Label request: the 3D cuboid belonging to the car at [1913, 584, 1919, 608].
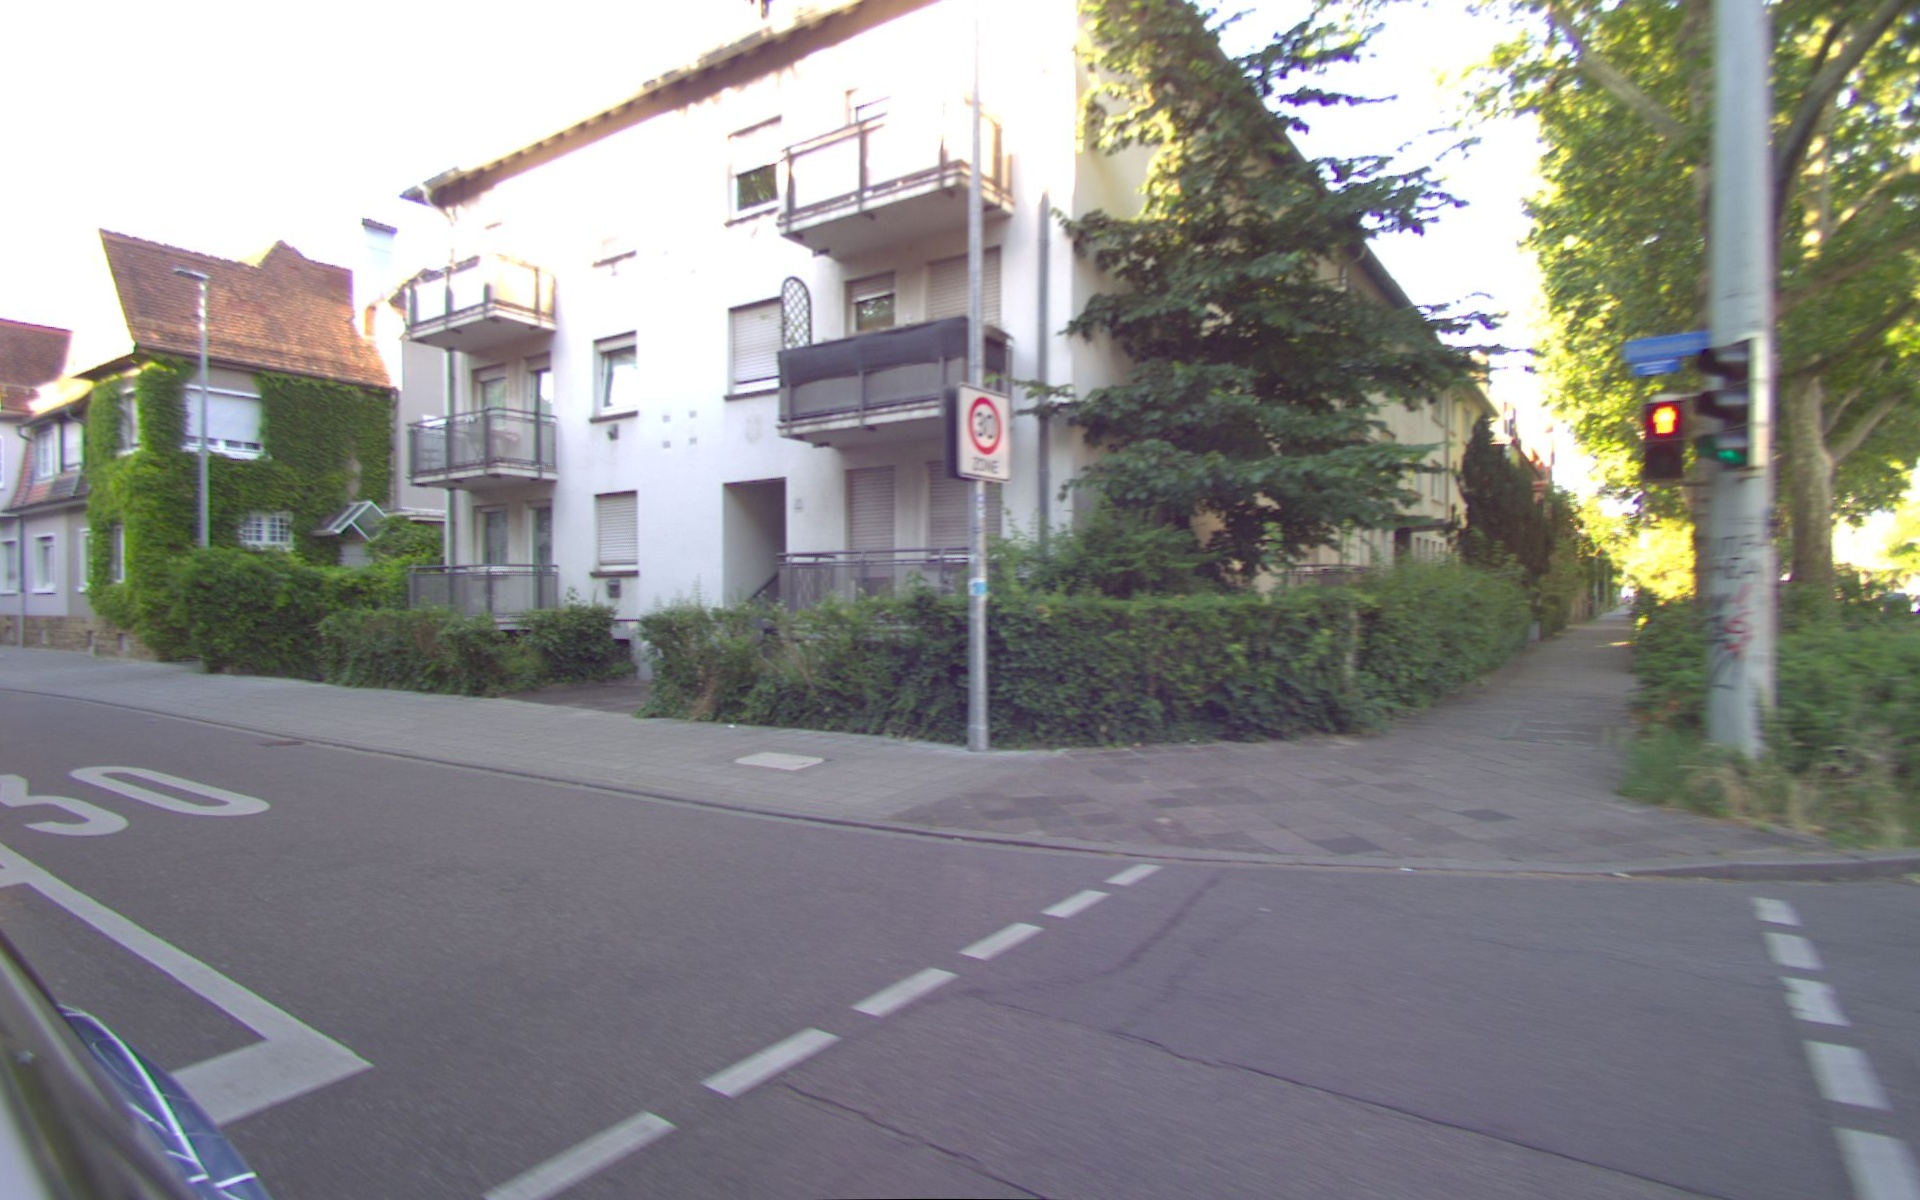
[{"bbox_3d":[63.839,-0.274,65.924,1.874,1.608,3.954,-1,0,34],"label":"car"}]
